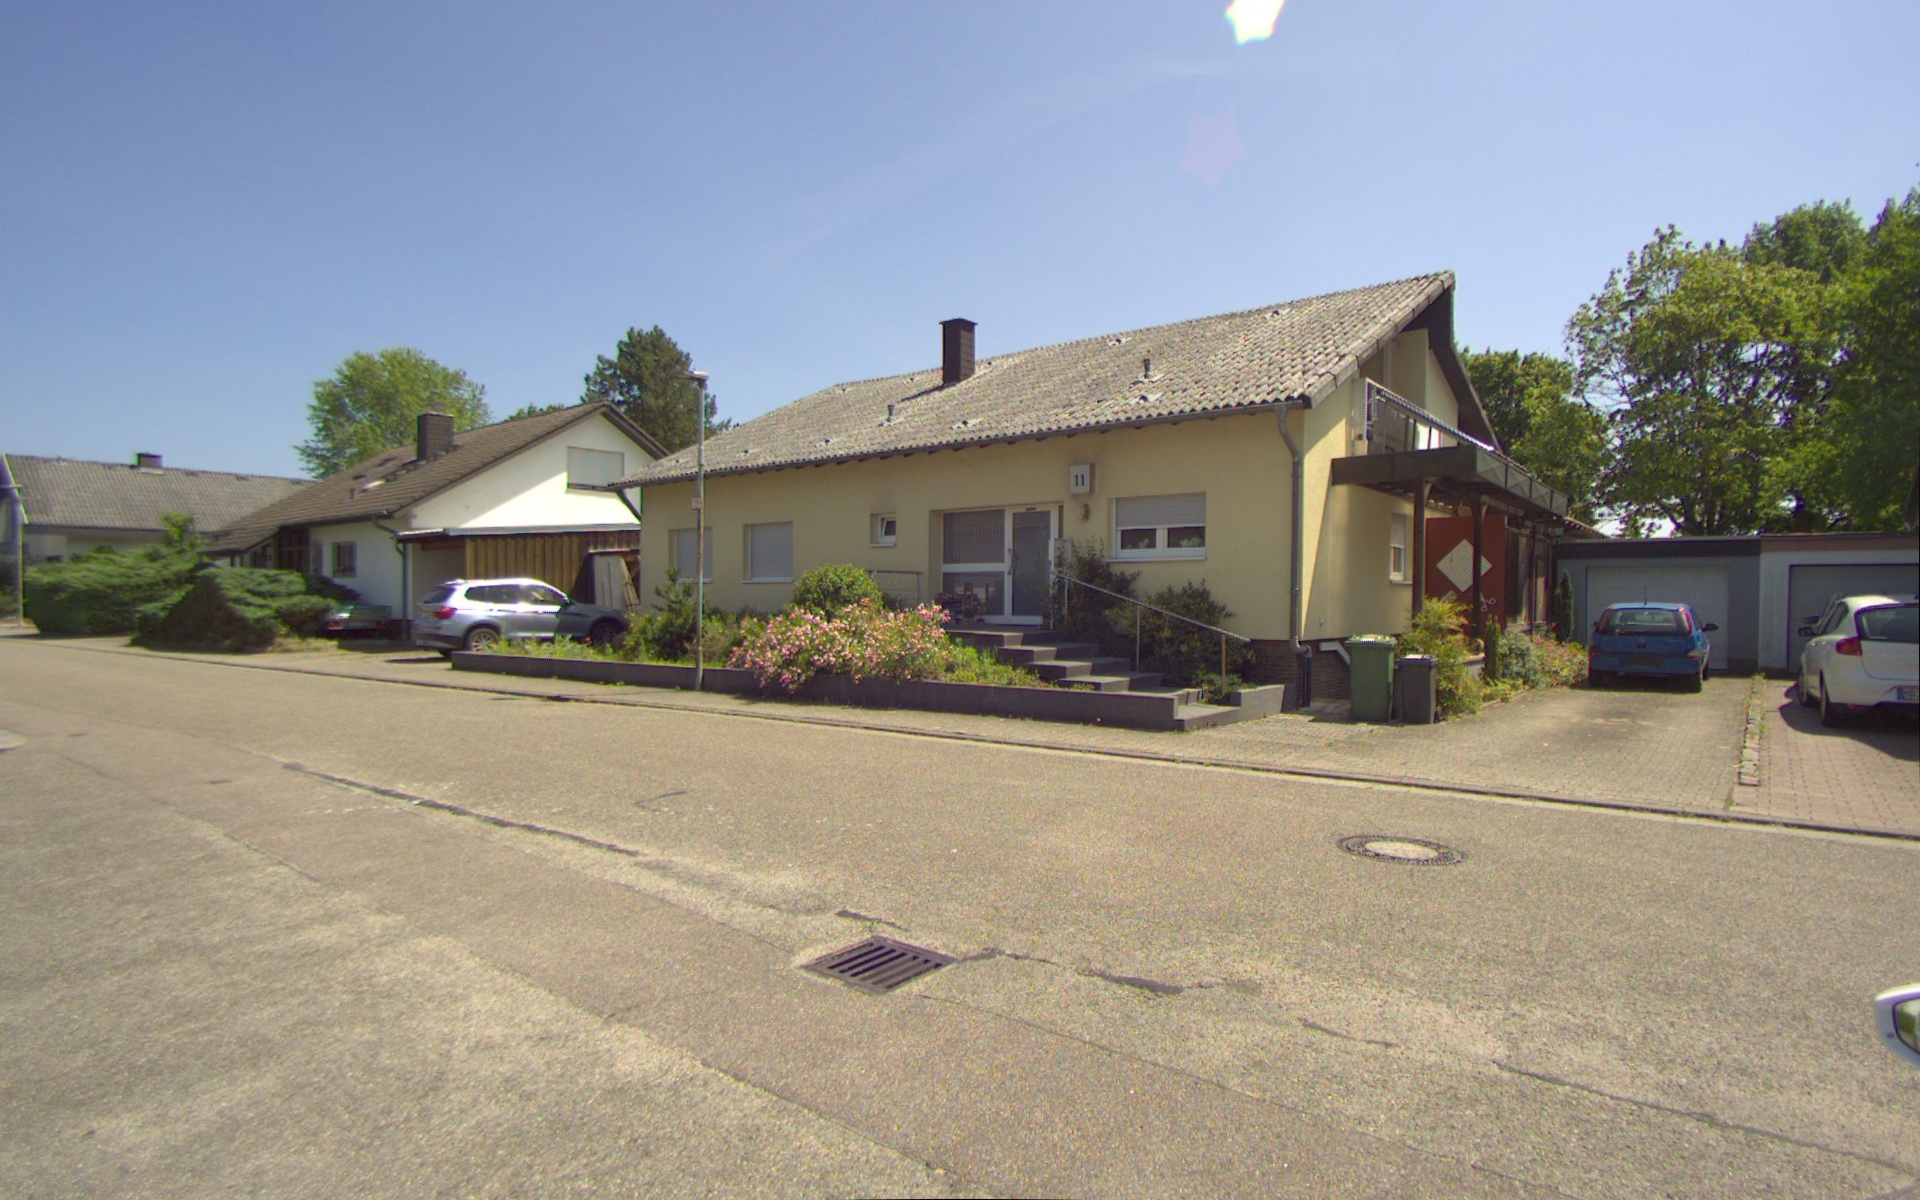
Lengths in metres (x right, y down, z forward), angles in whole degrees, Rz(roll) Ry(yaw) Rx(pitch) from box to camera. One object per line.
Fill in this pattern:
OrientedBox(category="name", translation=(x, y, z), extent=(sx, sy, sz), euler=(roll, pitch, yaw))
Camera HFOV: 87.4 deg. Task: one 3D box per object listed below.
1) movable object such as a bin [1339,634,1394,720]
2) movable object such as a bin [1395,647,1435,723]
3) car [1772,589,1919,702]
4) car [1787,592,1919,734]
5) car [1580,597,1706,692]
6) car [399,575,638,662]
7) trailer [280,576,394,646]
OrientedBox(category="movable object such as a bin", translation=(5.245, 0.980, 12.968), extent=(0.582, 1.055, 0.490), euler=(0, 0, 32))
OrientedBox(category="movable object such as a bin", translation=(5.707, 1.056, 12.596), extent=(0.400, 0.903, 0.425), euler=(0, 0, 31))
OrientedBox(category="car", translation=(14.602, 0.642, 16.534), extent=(1.900, 1.629, 3.981), euler=(0, 0, 39))
OrientedBox(category="car", translation=(11.859, 0.701, 12.834), extent=(1.724, 1.589, 3.986), euler=(1, 0, 36))
OrientedBox(category="car", translation=(12.302, 0.714, 18.021), extent=(1.595, 1.474, 3.239), euler=(1, 2, 39))
OrientedBox(category="car", translation=(-9.760, 0.326, 22.524), extent=(1.685, 1.725, 4.616), euler=(1, 2, 42))
OrientedBox(category="trailer", translation=(-16.341, 0.237, 26.303), extent=(3.246, 1.695, 1.584), euler=(2, 3, 40))
